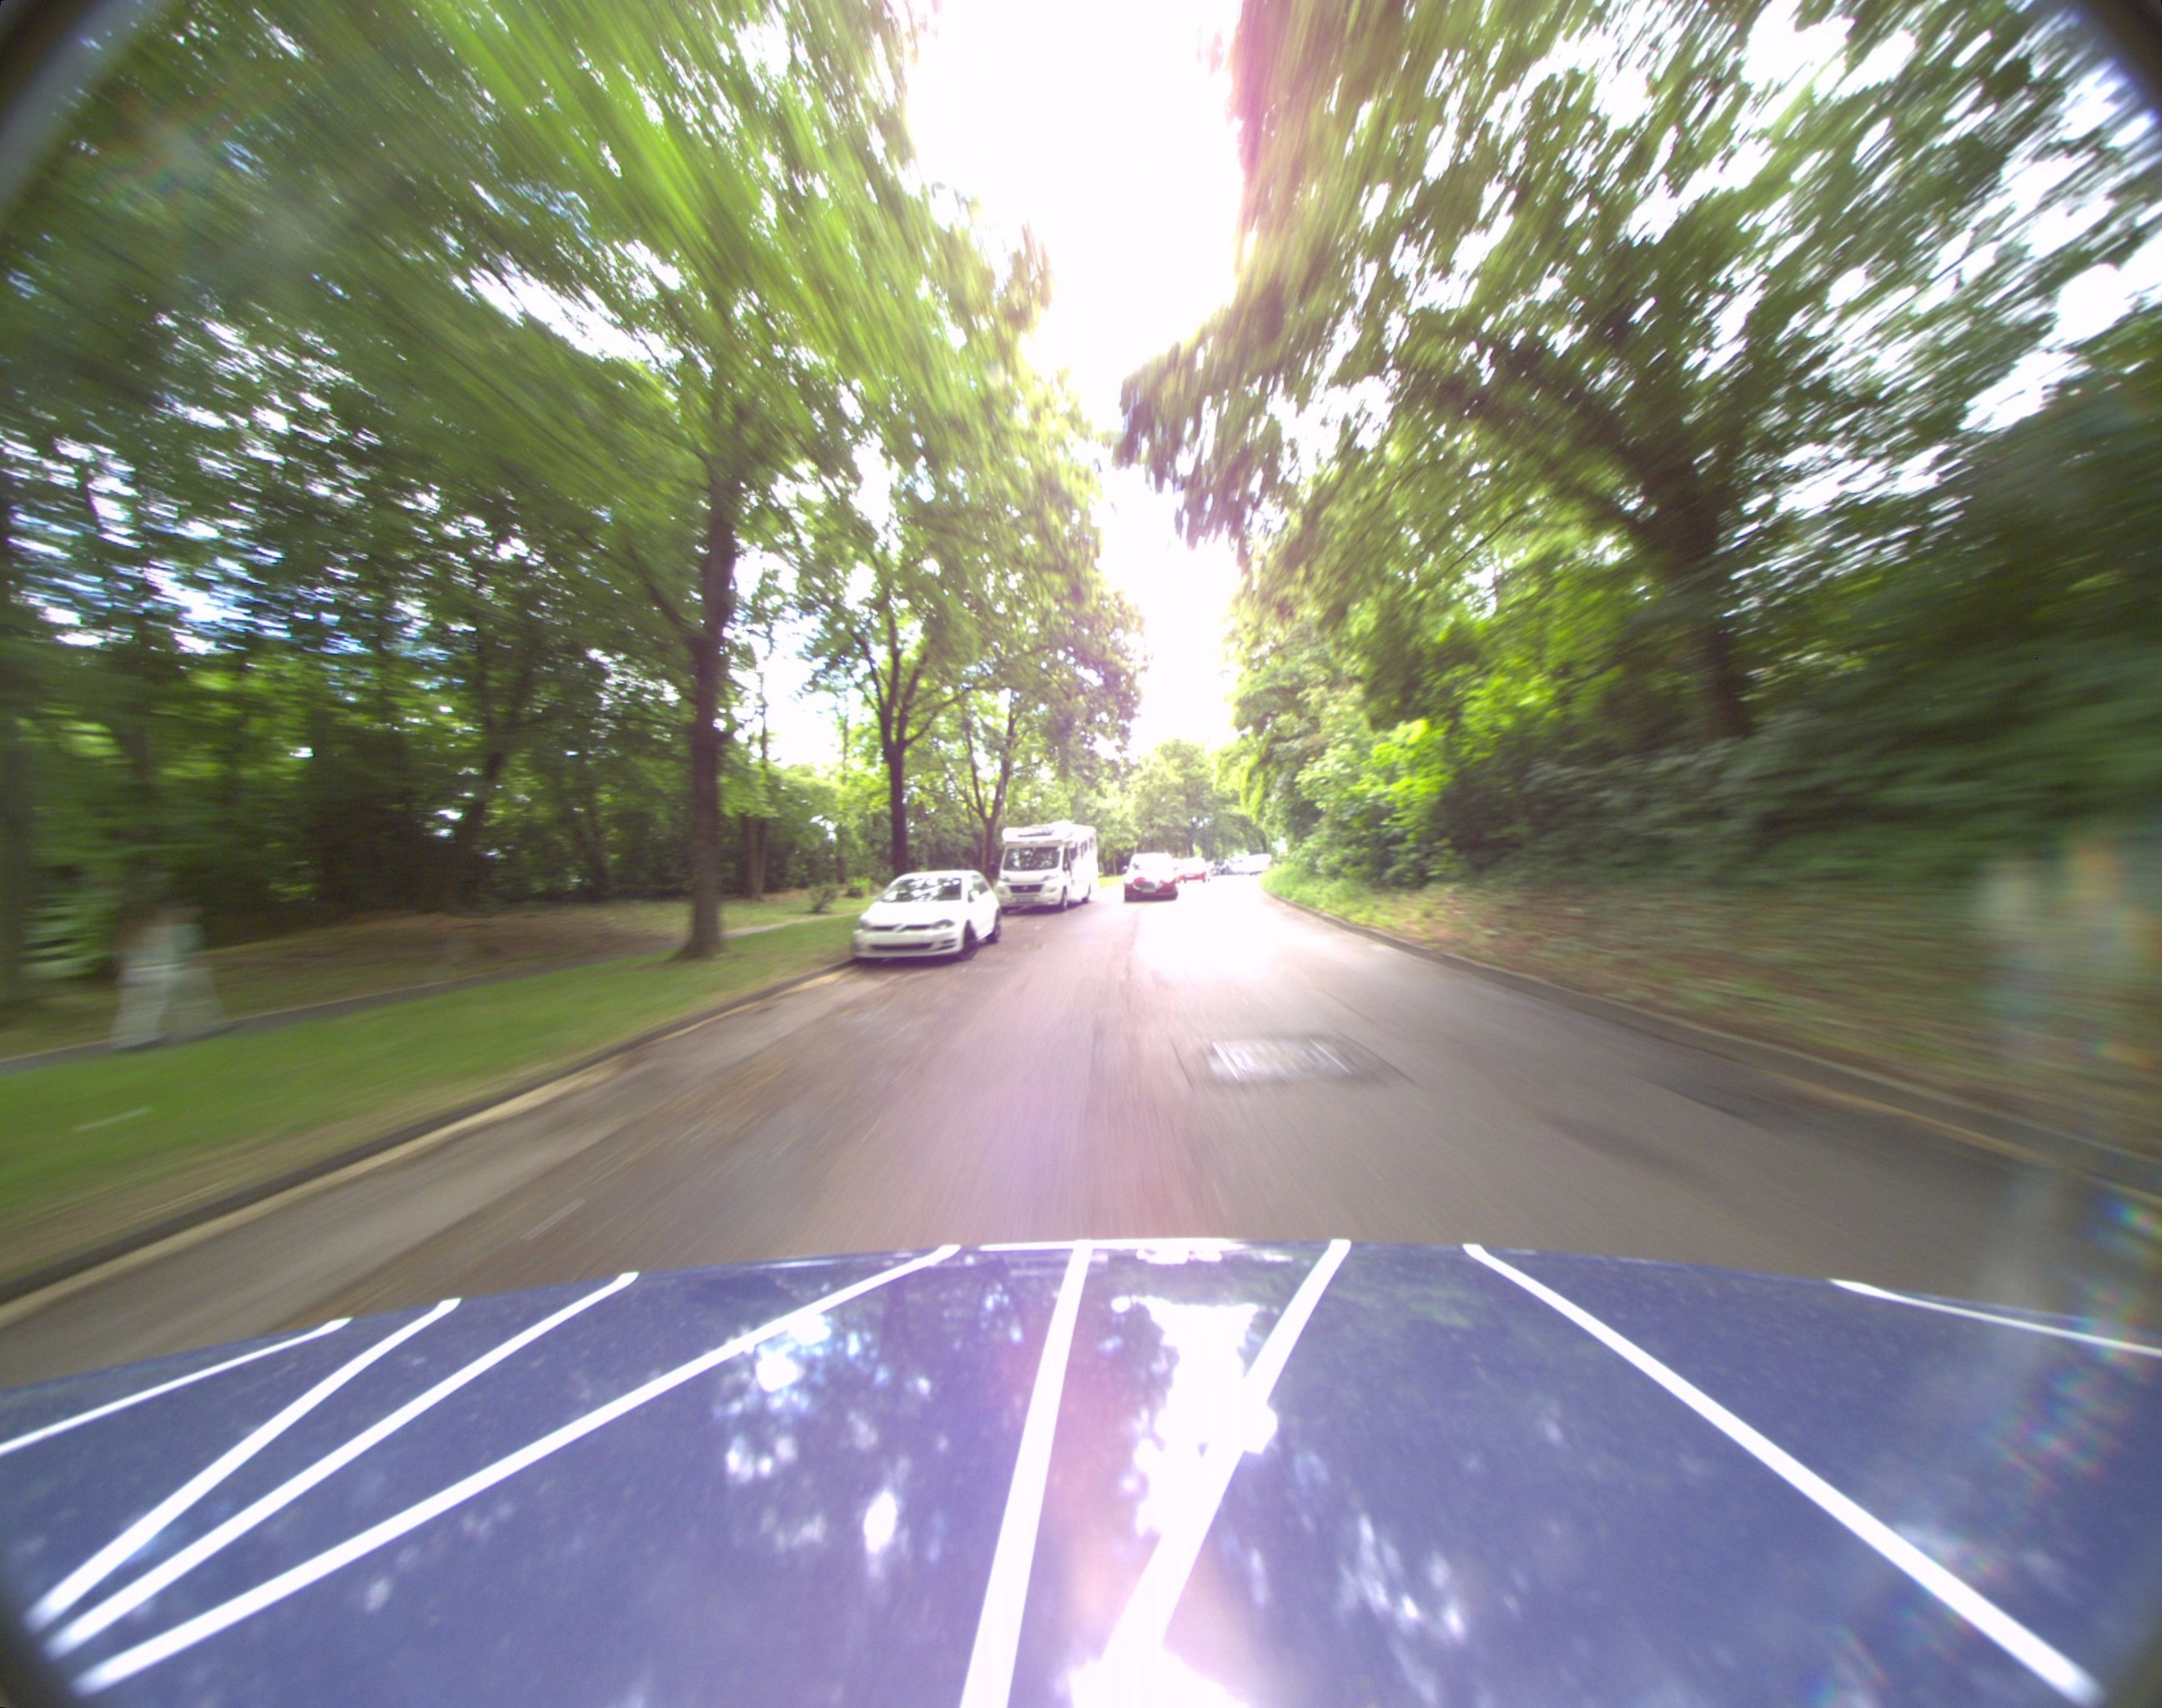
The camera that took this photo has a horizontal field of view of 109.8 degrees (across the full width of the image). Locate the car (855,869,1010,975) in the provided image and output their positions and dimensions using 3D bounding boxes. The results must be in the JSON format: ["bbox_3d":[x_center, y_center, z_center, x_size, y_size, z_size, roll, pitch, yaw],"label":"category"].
[{"bbox_3d":[-2.482,1.089,13.742,1.692,1.474,4.107,-4,0,3],"label":"car"}]

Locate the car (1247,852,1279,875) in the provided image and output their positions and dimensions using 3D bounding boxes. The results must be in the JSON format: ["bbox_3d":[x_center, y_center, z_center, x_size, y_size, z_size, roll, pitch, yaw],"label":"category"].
[{"bbox_3d":[13.423,0.683,55.897,1.796,1.499,4.006,-3,-1,20],"label":"car"}]

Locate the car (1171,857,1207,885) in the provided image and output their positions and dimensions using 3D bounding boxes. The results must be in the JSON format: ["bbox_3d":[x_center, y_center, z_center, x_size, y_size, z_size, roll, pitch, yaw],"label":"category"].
[{"bbox_3d":[6.513,0.995,45.941,1.957,1.464,4.680,-4,0,7],"label":"car"}]

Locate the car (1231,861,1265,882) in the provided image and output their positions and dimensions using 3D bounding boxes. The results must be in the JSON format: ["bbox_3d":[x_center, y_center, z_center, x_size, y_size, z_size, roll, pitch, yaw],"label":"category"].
[{"bbox_3d":[14.815,1.542,67.289,1.651,1.559,4.053,-4,0,32],"label":"car"}]

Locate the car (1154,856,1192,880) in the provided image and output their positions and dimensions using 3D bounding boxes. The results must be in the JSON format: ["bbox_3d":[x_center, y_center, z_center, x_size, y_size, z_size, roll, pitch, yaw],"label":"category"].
[{"bbox_3d":[6.808,1.002,55.969,1.713,1.543,4.683,-4,0,19],"label":"car"}]

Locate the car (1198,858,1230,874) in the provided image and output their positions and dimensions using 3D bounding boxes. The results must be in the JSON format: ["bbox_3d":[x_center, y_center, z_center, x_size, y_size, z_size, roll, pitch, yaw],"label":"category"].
[{"bbox_3d":[11.966,1.056,68.050,1.712,1.248,4.684,-4,0,24],"label":"car"}]

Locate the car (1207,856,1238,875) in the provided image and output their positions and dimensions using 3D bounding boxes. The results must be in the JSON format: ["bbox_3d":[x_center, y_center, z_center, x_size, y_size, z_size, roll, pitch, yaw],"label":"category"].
[{"bbox_3d":[13.255,1.038,70.983,1.712,1.502,4.684,-4,0,24],"label":"car"}]

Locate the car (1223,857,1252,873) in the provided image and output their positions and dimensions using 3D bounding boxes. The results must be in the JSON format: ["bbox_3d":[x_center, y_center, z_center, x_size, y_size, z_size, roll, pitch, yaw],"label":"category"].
[{"bbox_3d":[15.615,1.073,75.702,1.712,1.413,4.684,-4,0,24],"label":"car"}]

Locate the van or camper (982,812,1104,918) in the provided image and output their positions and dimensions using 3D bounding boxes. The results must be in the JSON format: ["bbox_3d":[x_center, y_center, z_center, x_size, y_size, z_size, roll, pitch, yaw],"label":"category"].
[{"bbox_3d":[-1.018,0.315,25.895,2.429,2.962,7.398,-4,0,10],"label":"van or camper"}]

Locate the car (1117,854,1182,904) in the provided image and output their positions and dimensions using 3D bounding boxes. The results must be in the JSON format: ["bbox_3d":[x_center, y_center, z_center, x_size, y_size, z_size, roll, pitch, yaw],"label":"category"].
[{"bbox_3d":[2.652,0.870,28.404,2.002,1.599,4.680,-4,0,9],"label":"car"}]

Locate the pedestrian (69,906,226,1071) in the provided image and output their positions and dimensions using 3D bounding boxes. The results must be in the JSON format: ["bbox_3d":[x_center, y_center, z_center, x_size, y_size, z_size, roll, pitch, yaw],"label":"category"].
[{"bbox_3d":[-10.292,1.442,8.413,0.582,1.642,0.872,-4,0,-6],"label":"pedestrian"}]
